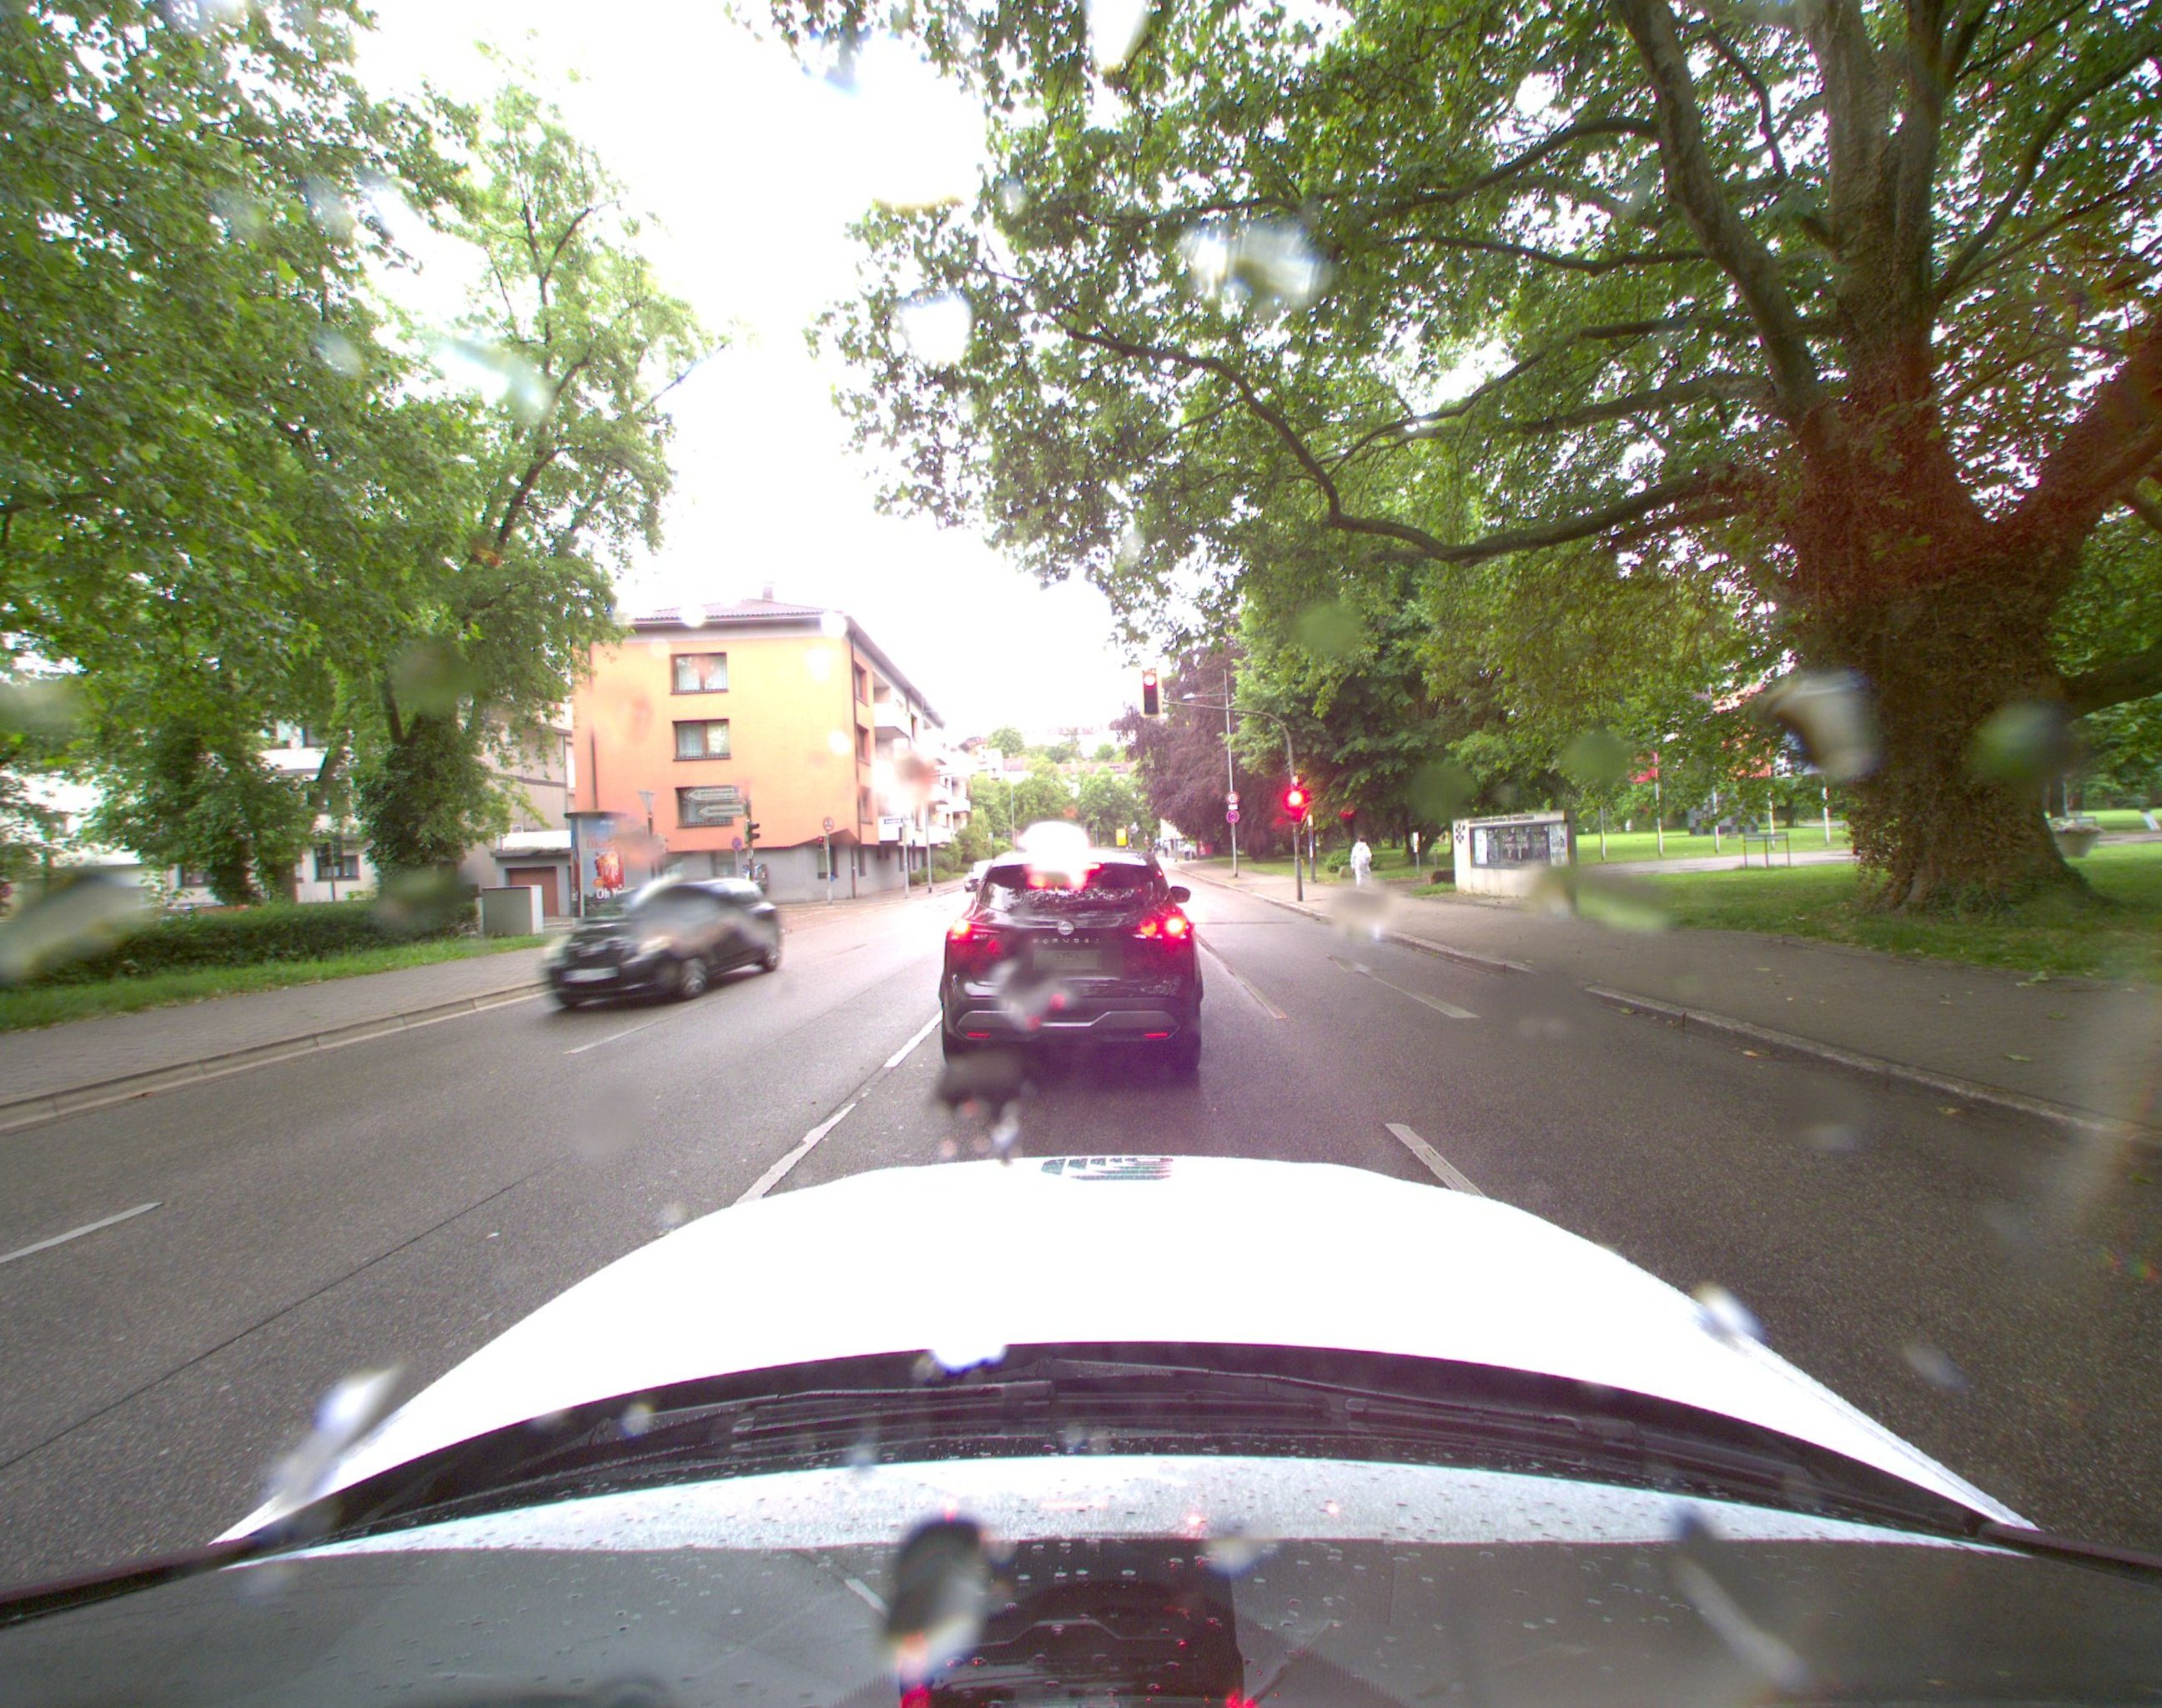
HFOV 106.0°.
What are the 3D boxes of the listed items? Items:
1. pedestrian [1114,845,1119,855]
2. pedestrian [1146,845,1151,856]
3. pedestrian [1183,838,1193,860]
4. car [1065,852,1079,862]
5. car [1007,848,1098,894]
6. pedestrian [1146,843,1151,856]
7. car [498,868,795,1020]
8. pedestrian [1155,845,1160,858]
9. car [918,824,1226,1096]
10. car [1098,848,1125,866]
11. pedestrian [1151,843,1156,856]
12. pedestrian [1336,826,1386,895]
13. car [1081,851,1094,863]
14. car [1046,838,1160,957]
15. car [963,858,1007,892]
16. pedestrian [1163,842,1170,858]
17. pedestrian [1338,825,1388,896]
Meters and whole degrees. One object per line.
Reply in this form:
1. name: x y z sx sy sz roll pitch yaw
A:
1. pedestrian: 5.953 -0.635 135.161 0.503 1.673 0.663 -3 0 29
2. pedestrian: 10.433 -0.565 126.176 0.503 1.673 0.663 -3 0 29
3. pedestrian: 9.882 -0.464 75.389 0.722 2.013 0.852 -3 0 2
4. car: -1.364 0.471 128.200 1.963 1.532 3.969 -3 0 2
5. car: -1.133 0.673 34.596 1.705 1.678 4.341 -3 0 31
6. pedestrian: 9.503 -0.661 114.860 0.506 1.802 0.620 -3 0 1
7. car: -5.580 1.044 11.110 1.789 1.533 3.869 -3 0 2
8. pedestrian: 10.716 -0.382 114.107 0.507 1.802 0.619 -3 0 0
9. car: 0.011 0.661 7.115 1.906 1.680 4.002 -1 0 2
10. car: 2.699 0.278 73.509 1.822 1.403 4.643 -4 0 -4
11. pedestrian: 10.201 -0.576 114.791 0.506 1.802 0.659 -3 0 2
12. pedestrian: 8.078 0.196 23.486 1.035 1.876 0.656 -5 0 -9
13. car: 0.925 0.410 112.872 1.628 1.532 3.969 -3 0 2
14. car: 0.401 0.671 14.494 1.692 1.745 3.642 -3 0 2
15. car: -4.815 1.005 41.153 1.791 1.533 3.865 -3 0 -2
16. pedestrian: 10.191 -0.451 96.727 0.504 1.802 0.623 -3 0 25
17. pedestrian: 7.874 0.193 22.738 1.042 1.876 0.651 -5 0 -30
